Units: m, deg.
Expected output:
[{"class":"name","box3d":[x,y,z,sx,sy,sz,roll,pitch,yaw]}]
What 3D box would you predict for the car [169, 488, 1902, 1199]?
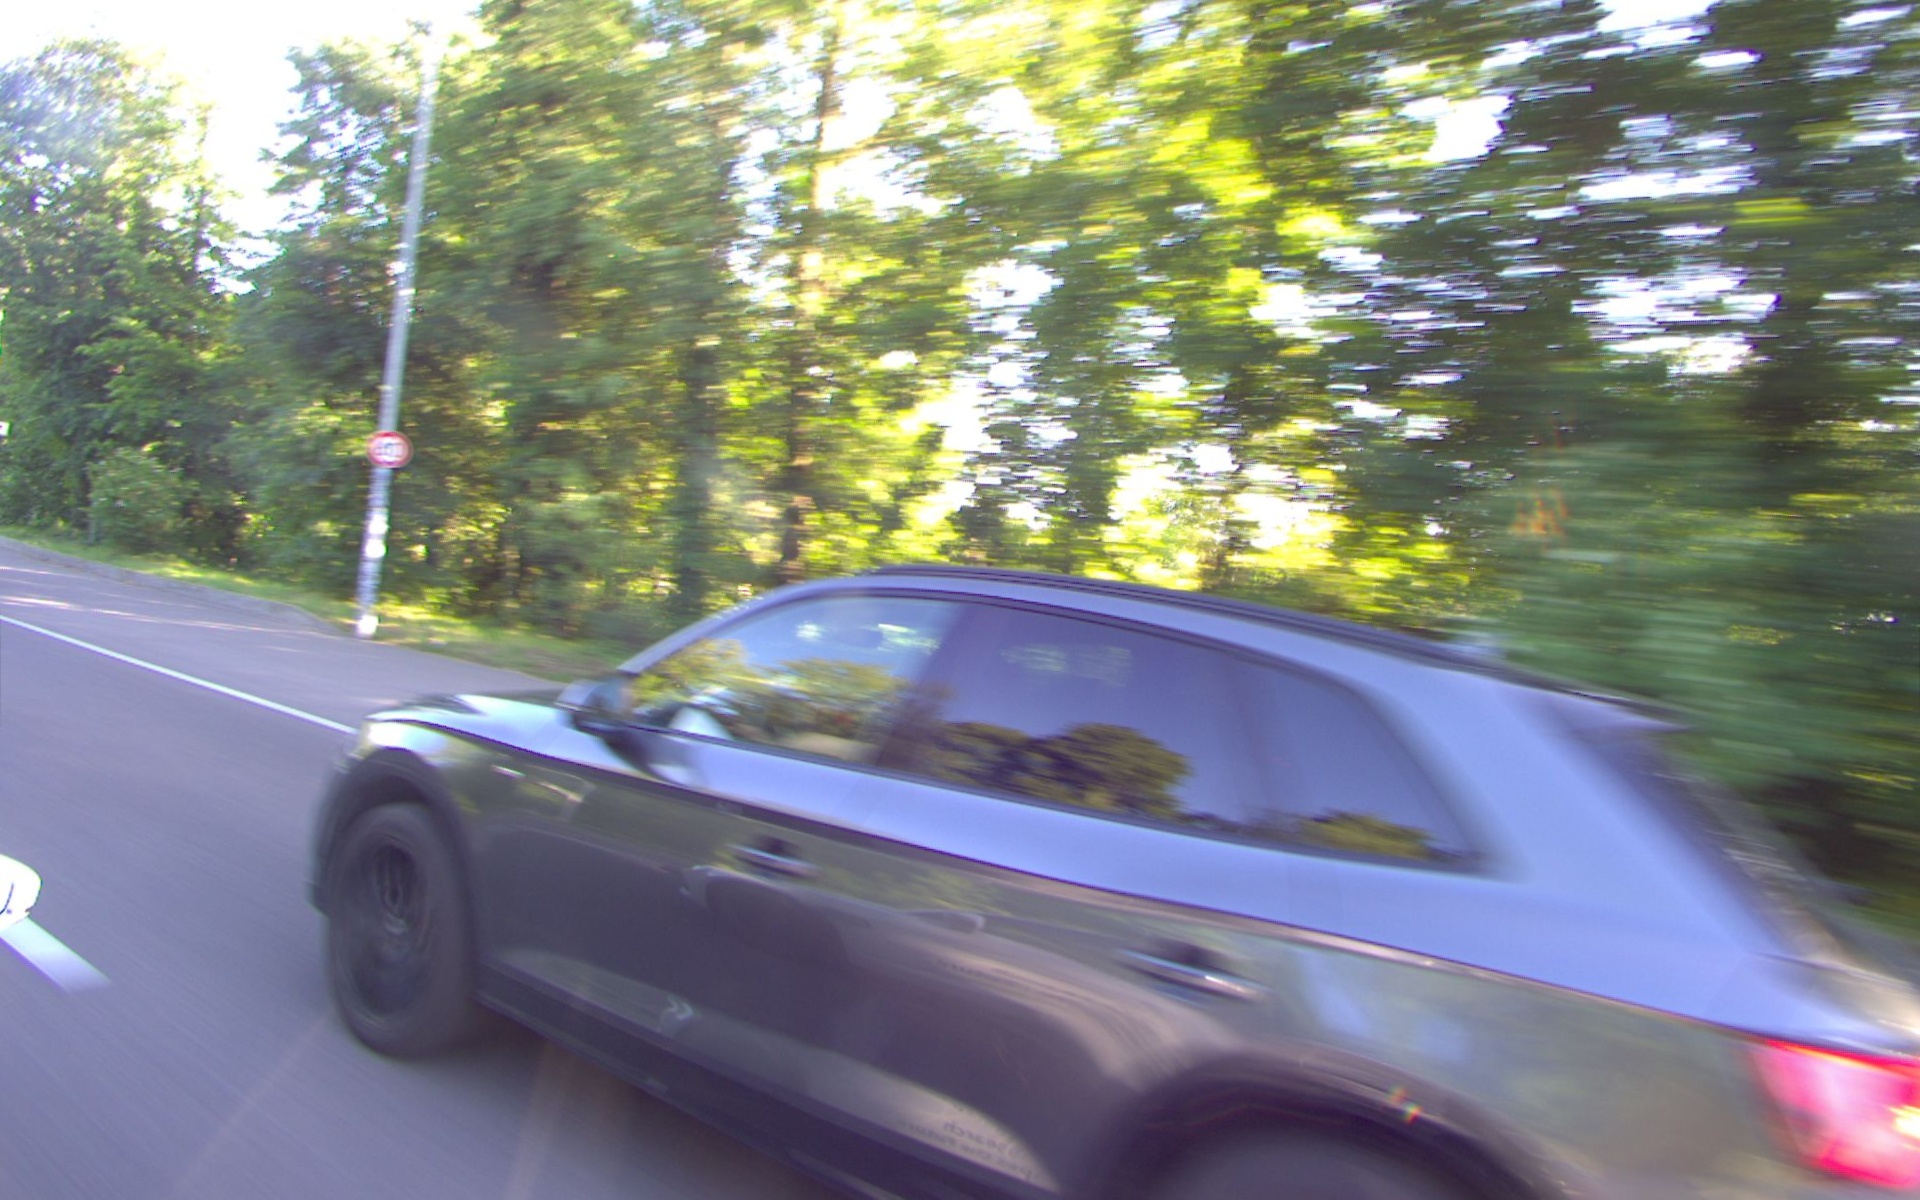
[{"class":"car","box3d":[-0.340,0.723,3.235,4.468,1.624,1.897,7,-2,31]}]
